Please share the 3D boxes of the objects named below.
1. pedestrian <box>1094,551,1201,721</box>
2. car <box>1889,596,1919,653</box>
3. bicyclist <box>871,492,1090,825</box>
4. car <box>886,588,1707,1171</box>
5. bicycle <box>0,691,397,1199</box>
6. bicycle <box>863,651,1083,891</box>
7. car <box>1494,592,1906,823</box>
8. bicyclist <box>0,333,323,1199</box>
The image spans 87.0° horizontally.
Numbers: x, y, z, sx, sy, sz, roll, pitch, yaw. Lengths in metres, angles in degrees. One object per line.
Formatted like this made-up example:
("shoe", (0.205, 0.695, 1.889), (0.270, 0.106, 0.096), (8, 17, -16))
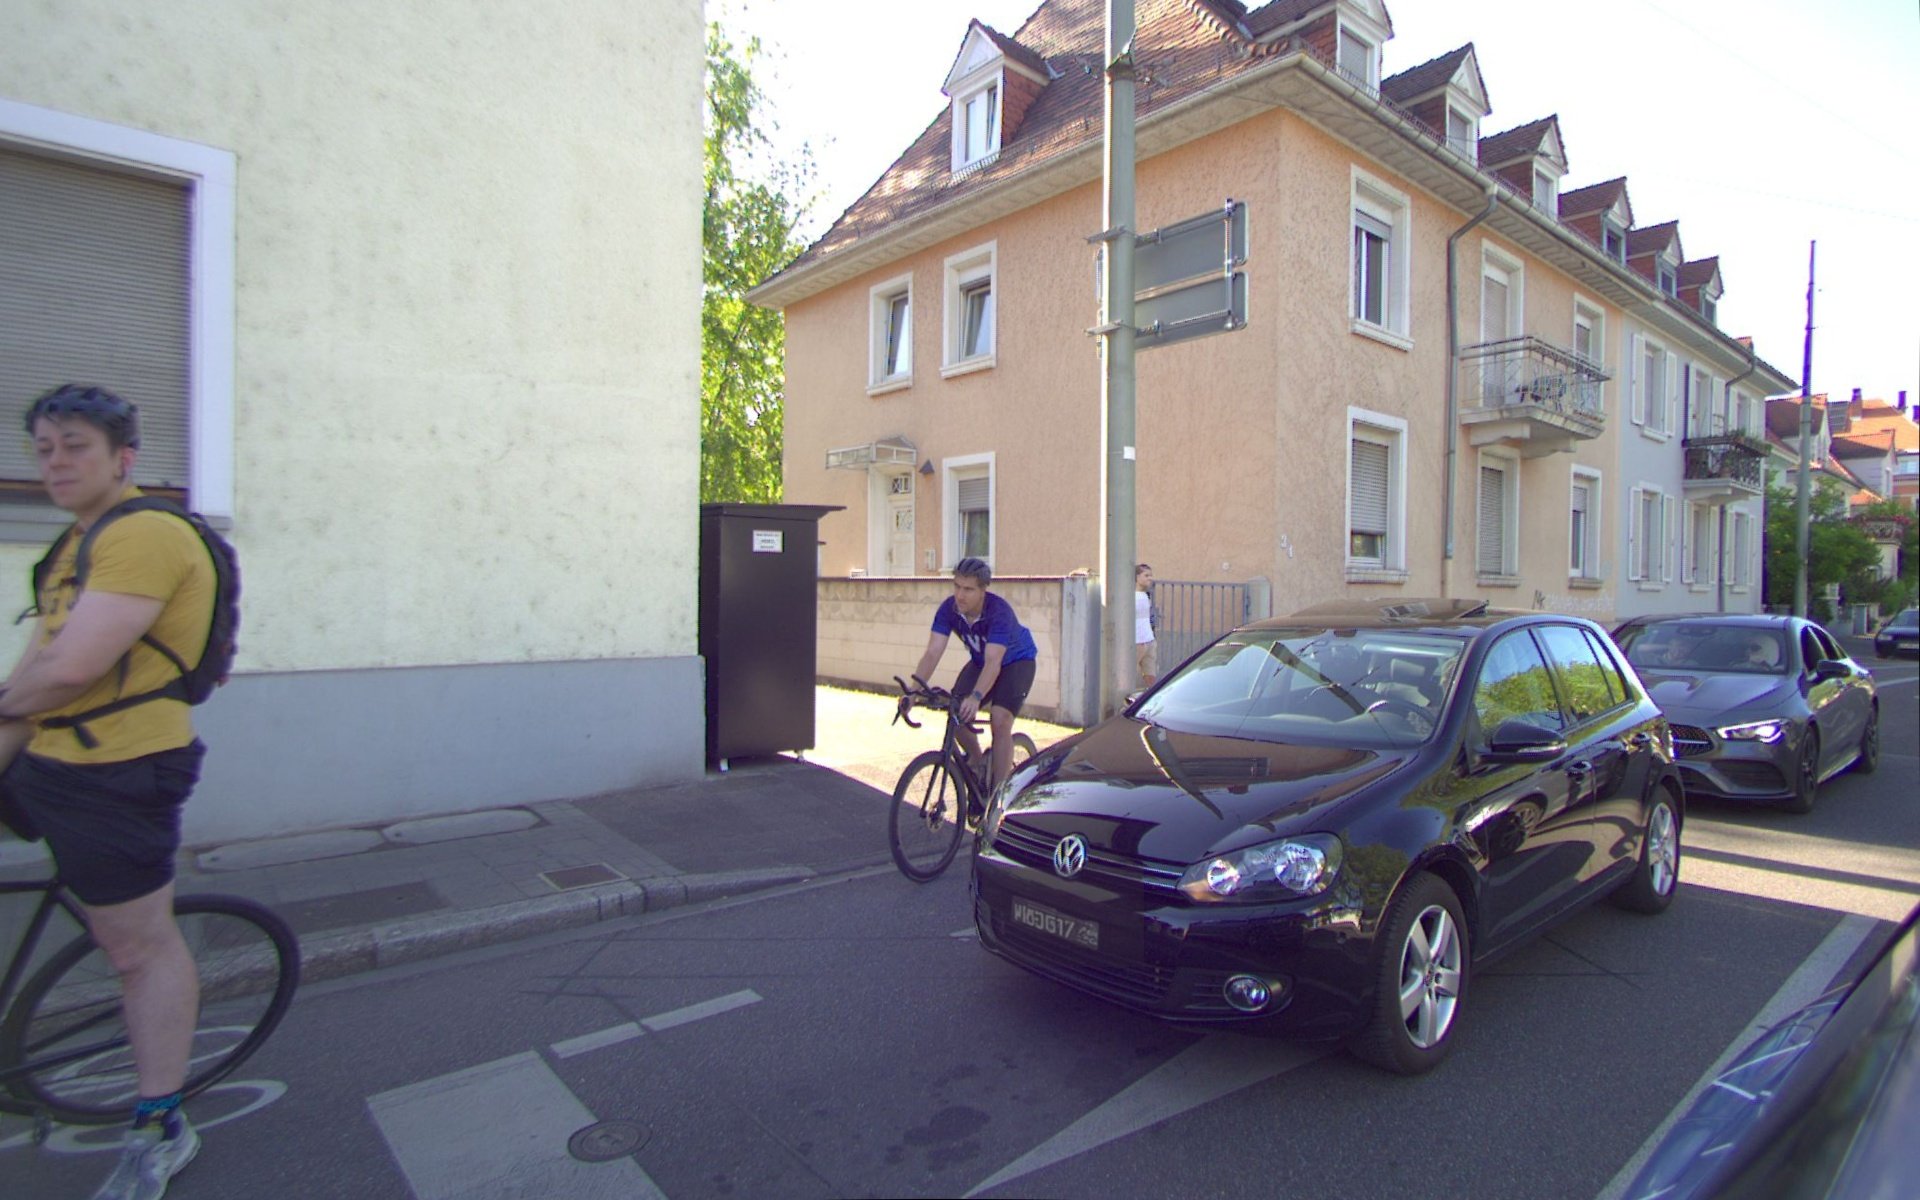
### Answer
("pedestrian", (1.924, 0.343, 10.401), (0.600, 1.624, 0.760), (0, 6, -43))
("car", (26.763, 0.626, 27.438), (4.258, 1.448, 1.824), (-1, 0, -40))
("bicyclist", (0.120, 0.307, 5.784), (1.012, 1.716, 0.722), (-2, -1, 29))
("car", (1.752, 0.686, 4.495), (3.921, 1.456, 1.716), (-1, 0, -41))
("bicycle", (-2.410, 0.865, 2.396), (0.777, 1.120, 1.720), (0, 0, 36))
("bicycle", (0.133, 0.873, 5.776), (0.551, 1.089, 1.609), (-2, -1, 29))
("car", (6.392, 0.703, 8.535), (4.410, 1.449, 1.824), (1, 0, -40))
("bicyclist", (-2.201, 0.430, 2.553), (0.777, 1.991, 0.768), (0, 0, 36))
